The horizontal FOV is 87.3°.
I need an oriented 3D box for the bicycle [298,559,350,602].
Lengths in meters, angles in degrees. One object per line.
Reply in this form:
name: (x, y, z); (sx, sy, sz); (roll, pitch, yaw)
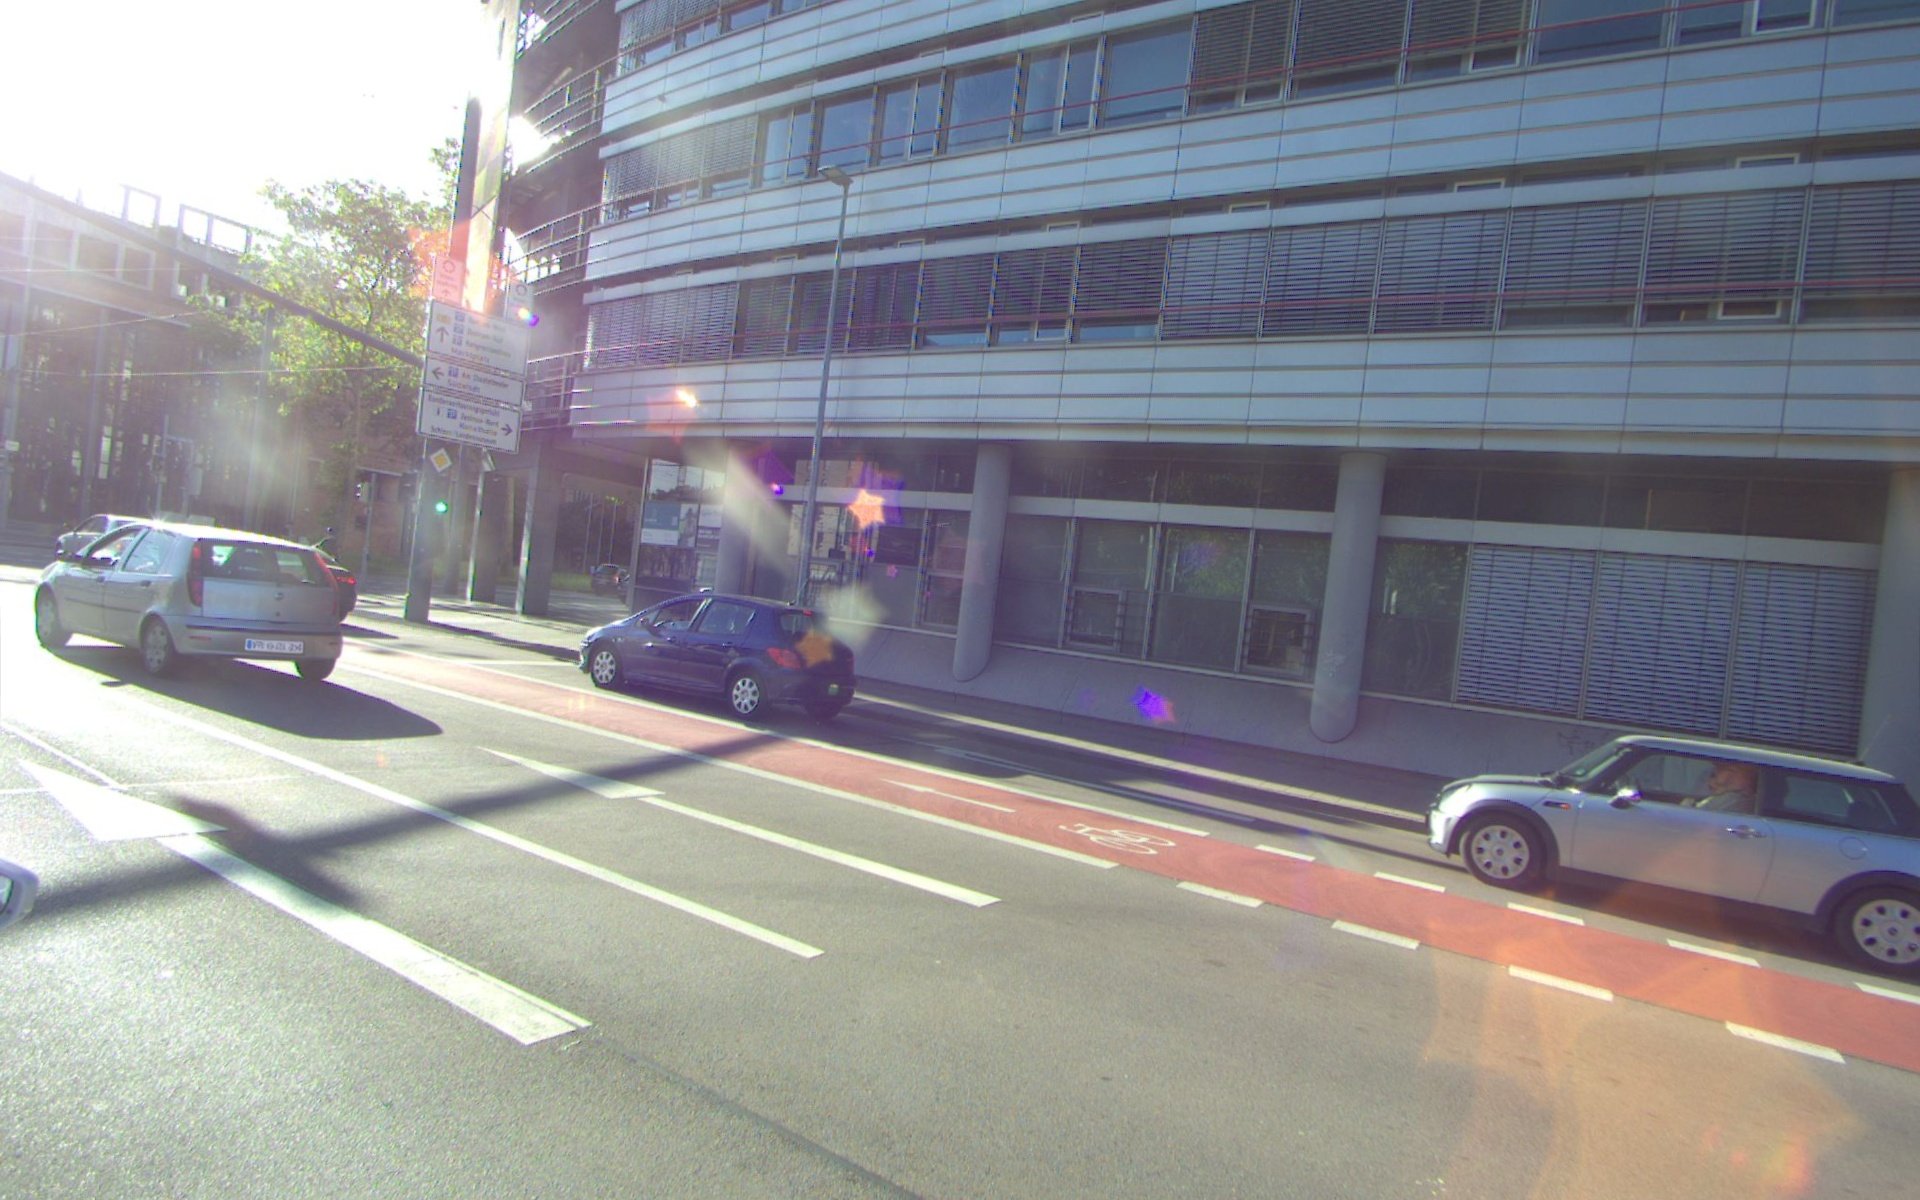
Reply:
bicycle: (-17.550, -0.568, 27.786); (0.657, 1.031, 2.174); (8, 1, -20)

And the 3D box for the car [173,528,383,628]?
car: (-13.161, -0.437, 19.377); (3.951, 1.457, 1.698); (6, -1, 30)

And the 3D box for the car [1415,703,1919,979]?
car: (5.805, 1.808, 8.260); (3.478, 1.405, 1.664); (7, -1, 32)

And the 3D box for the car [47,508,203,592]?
car: (-19.248, -1.176, 23.153); (3.919, 1.493, 1.696); (7, 0, 35)

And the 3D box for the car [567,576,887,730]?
car: (-3.200, 0.673, 13.713); (3.910, 1.493, 1.864); (7, 0, 30)

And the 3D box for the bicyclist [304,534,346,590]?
bicyclist: (-17.408, -1.041, 27.590); (0.657, 1.425, 0.811); (7, 1, -20)

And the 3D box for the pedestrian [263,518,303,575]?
pedestrian: (-22.389, -1.778, 33.287); (0.578, 1.754, 0.790); (6, -1, 39)

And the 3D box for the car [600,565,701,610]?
car: (-13.851, -0.531, 45.181); (1.837, 1.492, 3.968); (7, -1, 33)

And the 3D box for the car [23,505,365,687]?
car: (-8.157, -0.059, 10.680); (3.372, 1.474, 1.563); (7, 0, 29)
